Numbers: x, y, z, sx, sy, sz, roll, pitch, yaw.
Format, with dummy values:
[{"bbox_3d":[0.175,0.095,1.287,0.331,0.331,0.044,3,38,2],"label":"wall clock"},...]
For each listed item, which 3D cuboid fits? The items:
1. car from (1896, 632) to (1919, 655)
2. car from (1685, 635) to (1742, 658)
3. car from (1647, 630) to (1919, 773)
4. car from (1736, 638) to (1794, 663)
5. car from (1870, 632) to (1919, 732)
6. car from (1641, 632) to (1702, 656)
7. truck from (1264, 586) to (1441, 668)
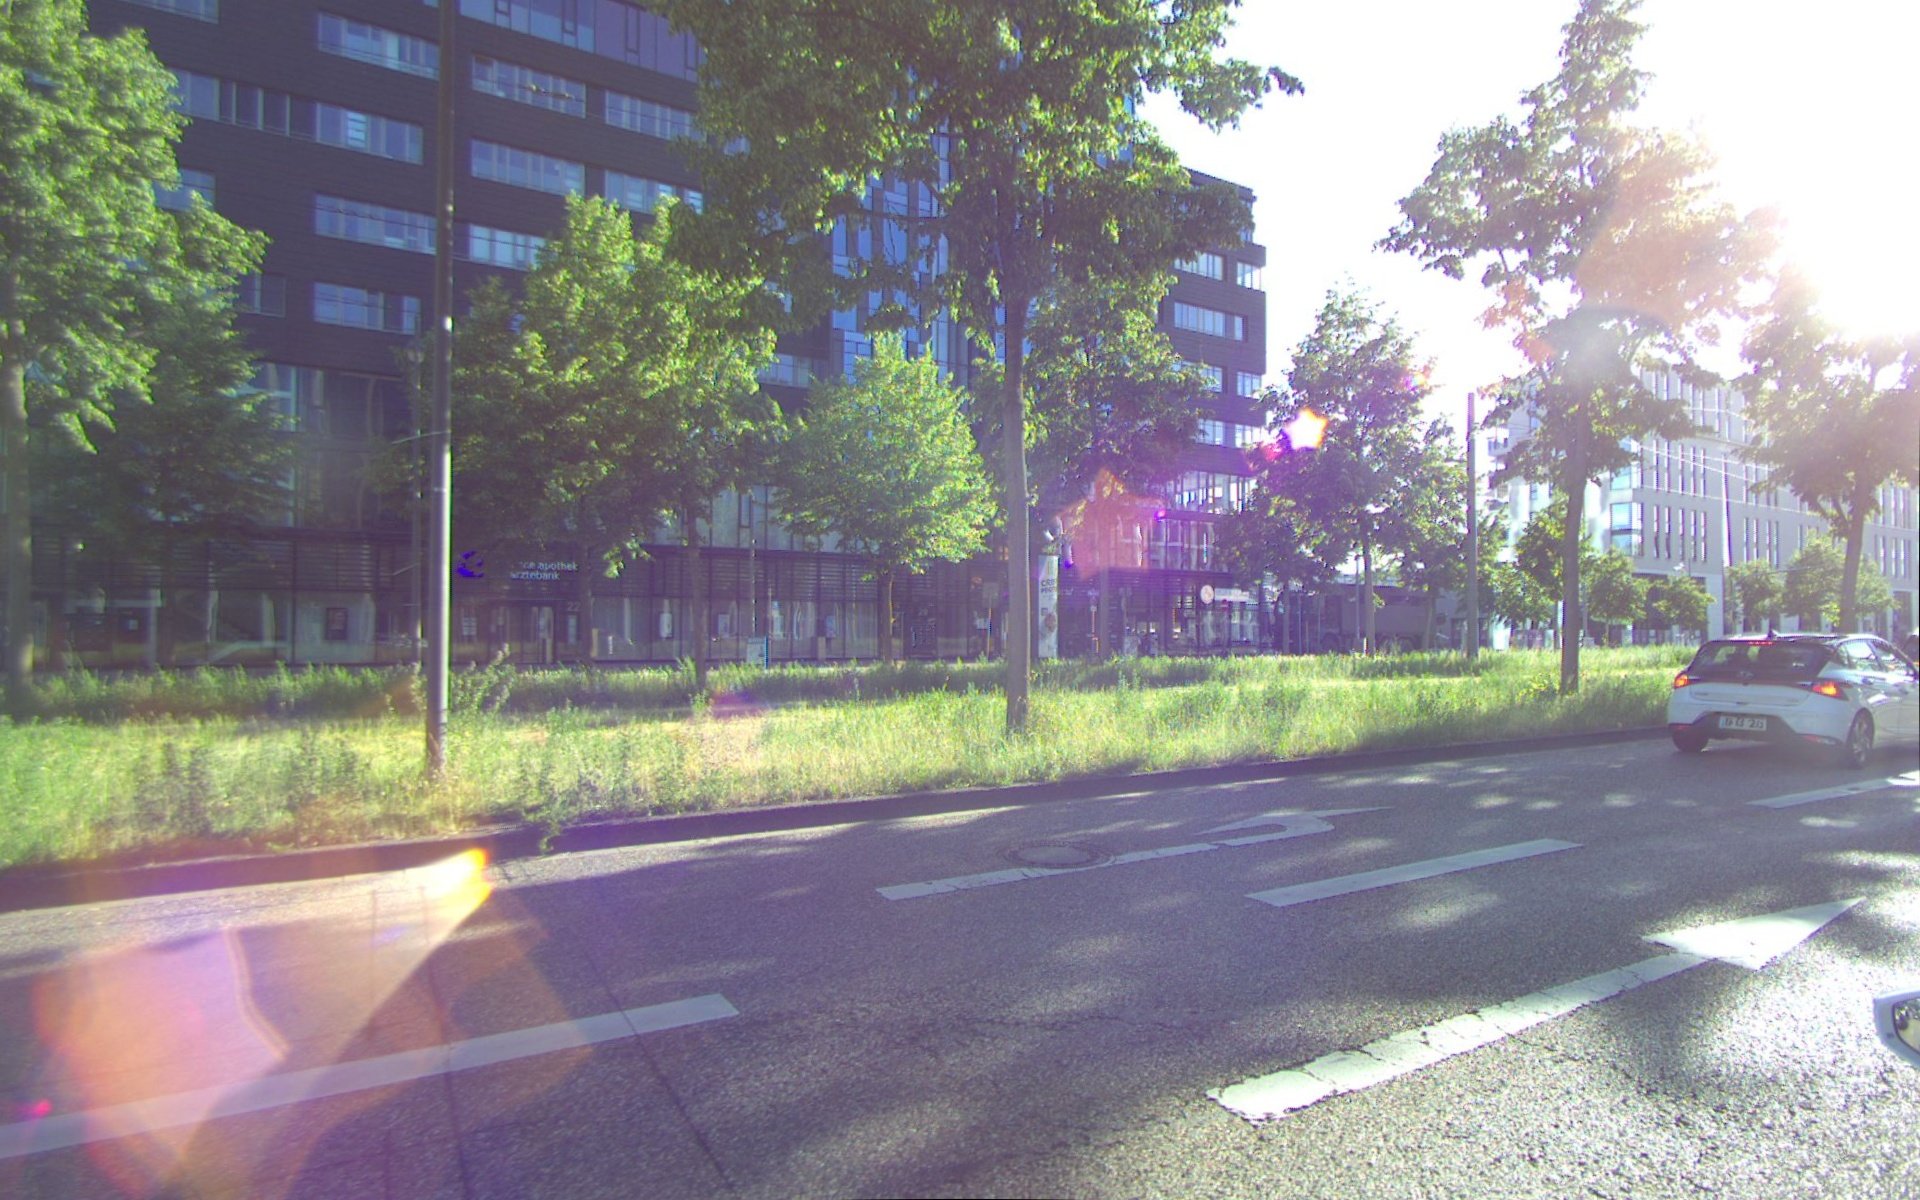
[{"bbox_3d":[86.682,3.889,90.825,3.953,2.040,1.984,1,-2,-30],"label":"car"},{"bbox_3d":[51.305,3.155,68.377,3.953,1.540,1.757,1,-2,-31],"label":"car"},{"bbox_3d":[10.531,1.118,12.313,4.516,1.466,1.790,1,-2,-31],"label":"car"},{"bbox_3d":[60.082,3.745,74.930,4.319,1.838,1.984,1,-2,-31],"label":"car"},{"bbox_3d":[16.231,1.226,15.702,4.518,1.466,1.790,1,-3,-32],"label":"car"},{"bbox_3d":[46.153,2.851,65.147,3.953,1.540,1.757,1,-2,-31],"label":"car"},{"bbox_3d":[20.327,1.449,51.722,10.094,3.904,2.877,1,-2,-31],"label":"truck"}]
